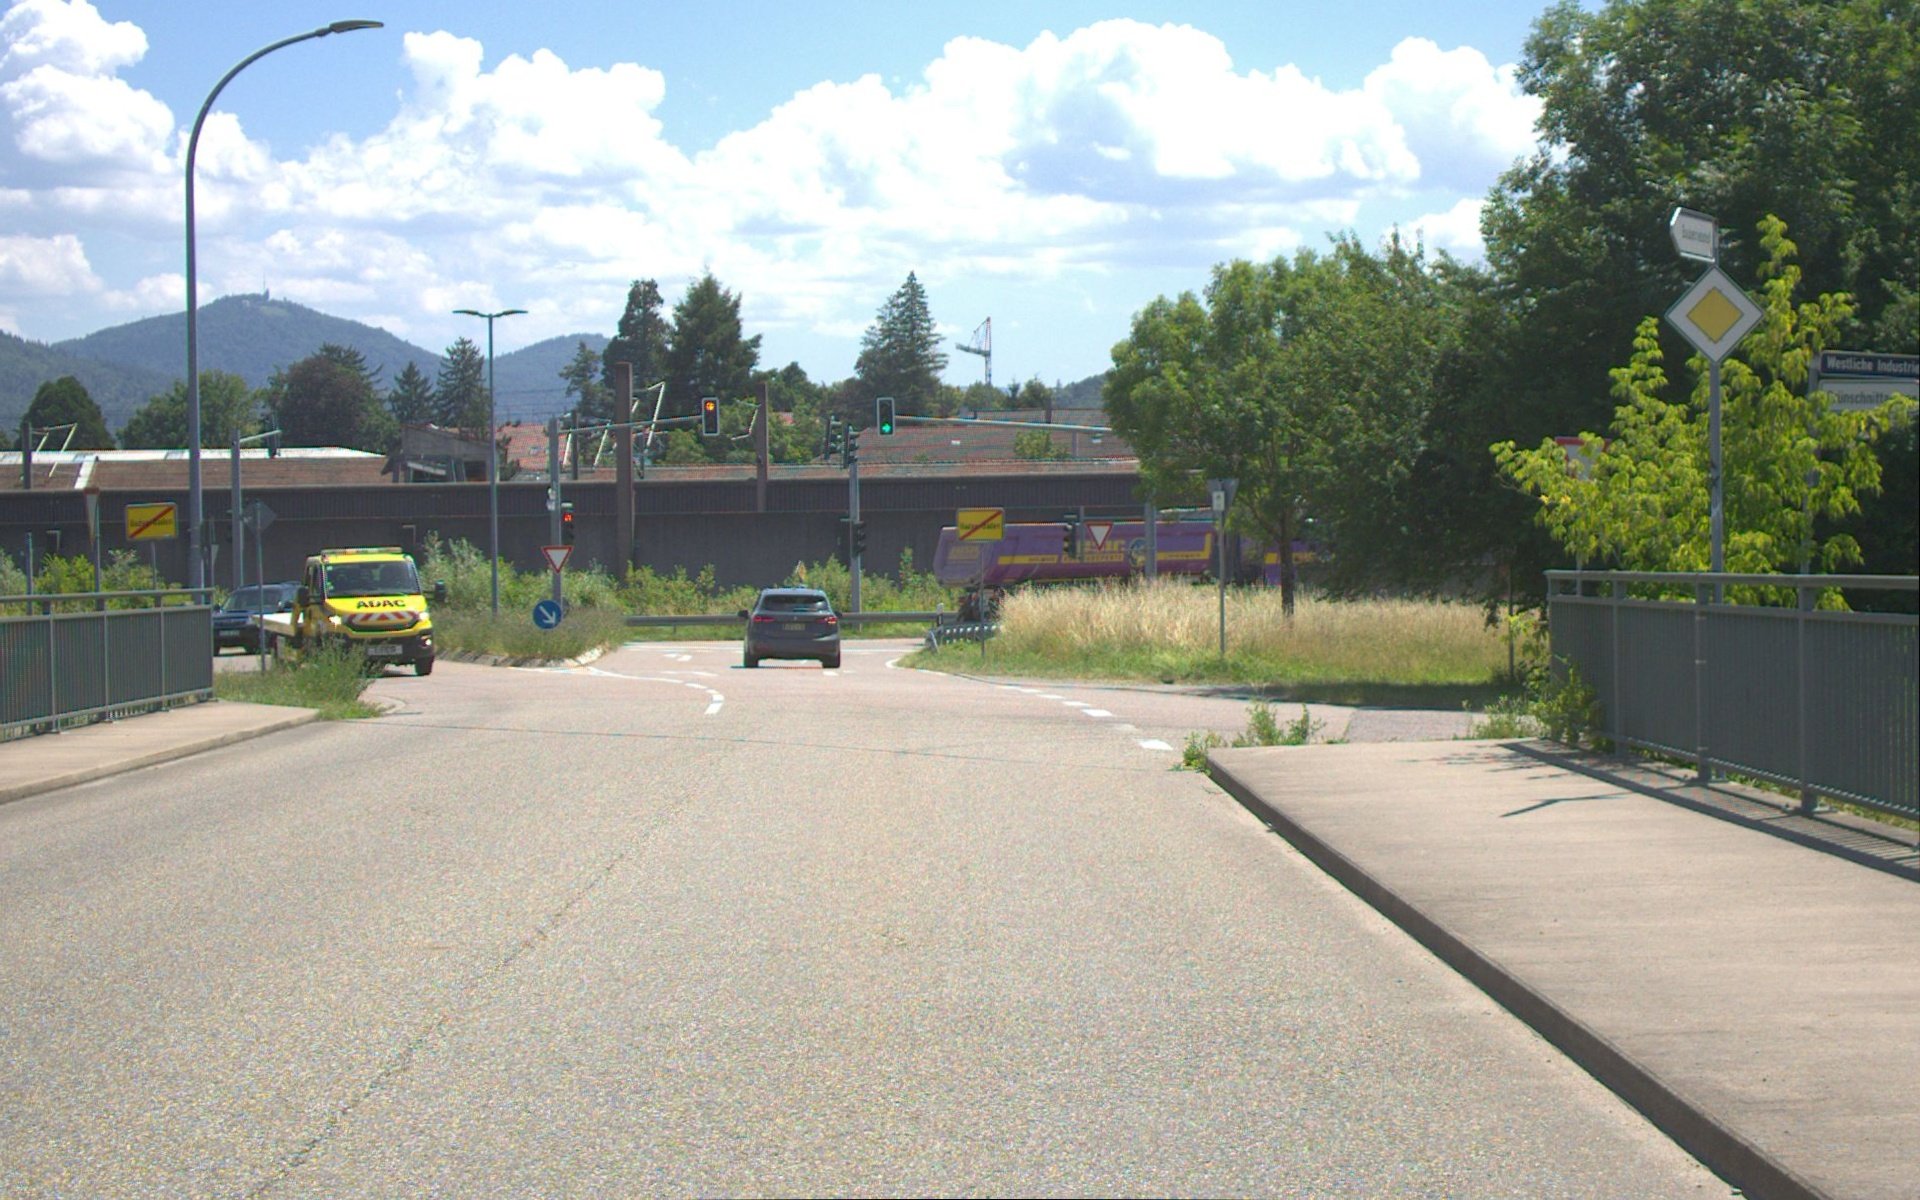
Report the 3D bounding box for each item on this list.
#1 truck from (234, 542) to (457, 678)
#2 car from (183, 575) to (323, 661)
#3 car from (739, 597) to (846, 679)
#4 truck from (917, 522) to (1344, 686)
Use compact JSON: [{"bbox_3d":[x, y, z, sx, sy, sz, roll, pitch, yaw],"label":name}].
[{"bbox_3d":[-11.814,0.266,65.435,2.310,2.330,9.052,-2,0,-22],"label":"truck"},{"bbox_3d":[-17.053,0.415,83.106,1.903,1.696,3.999,-2,4,10],"label":"car"},{"bbox_3d":[-3.318,0.717,67.620,1.993,1.498,4.001,1,0,-4],"label":"car"},{"bbox_3d":[4.676,0.172,92.033,11.768,4.166,3.005,1,-1,-31],"label":"truck"}]
